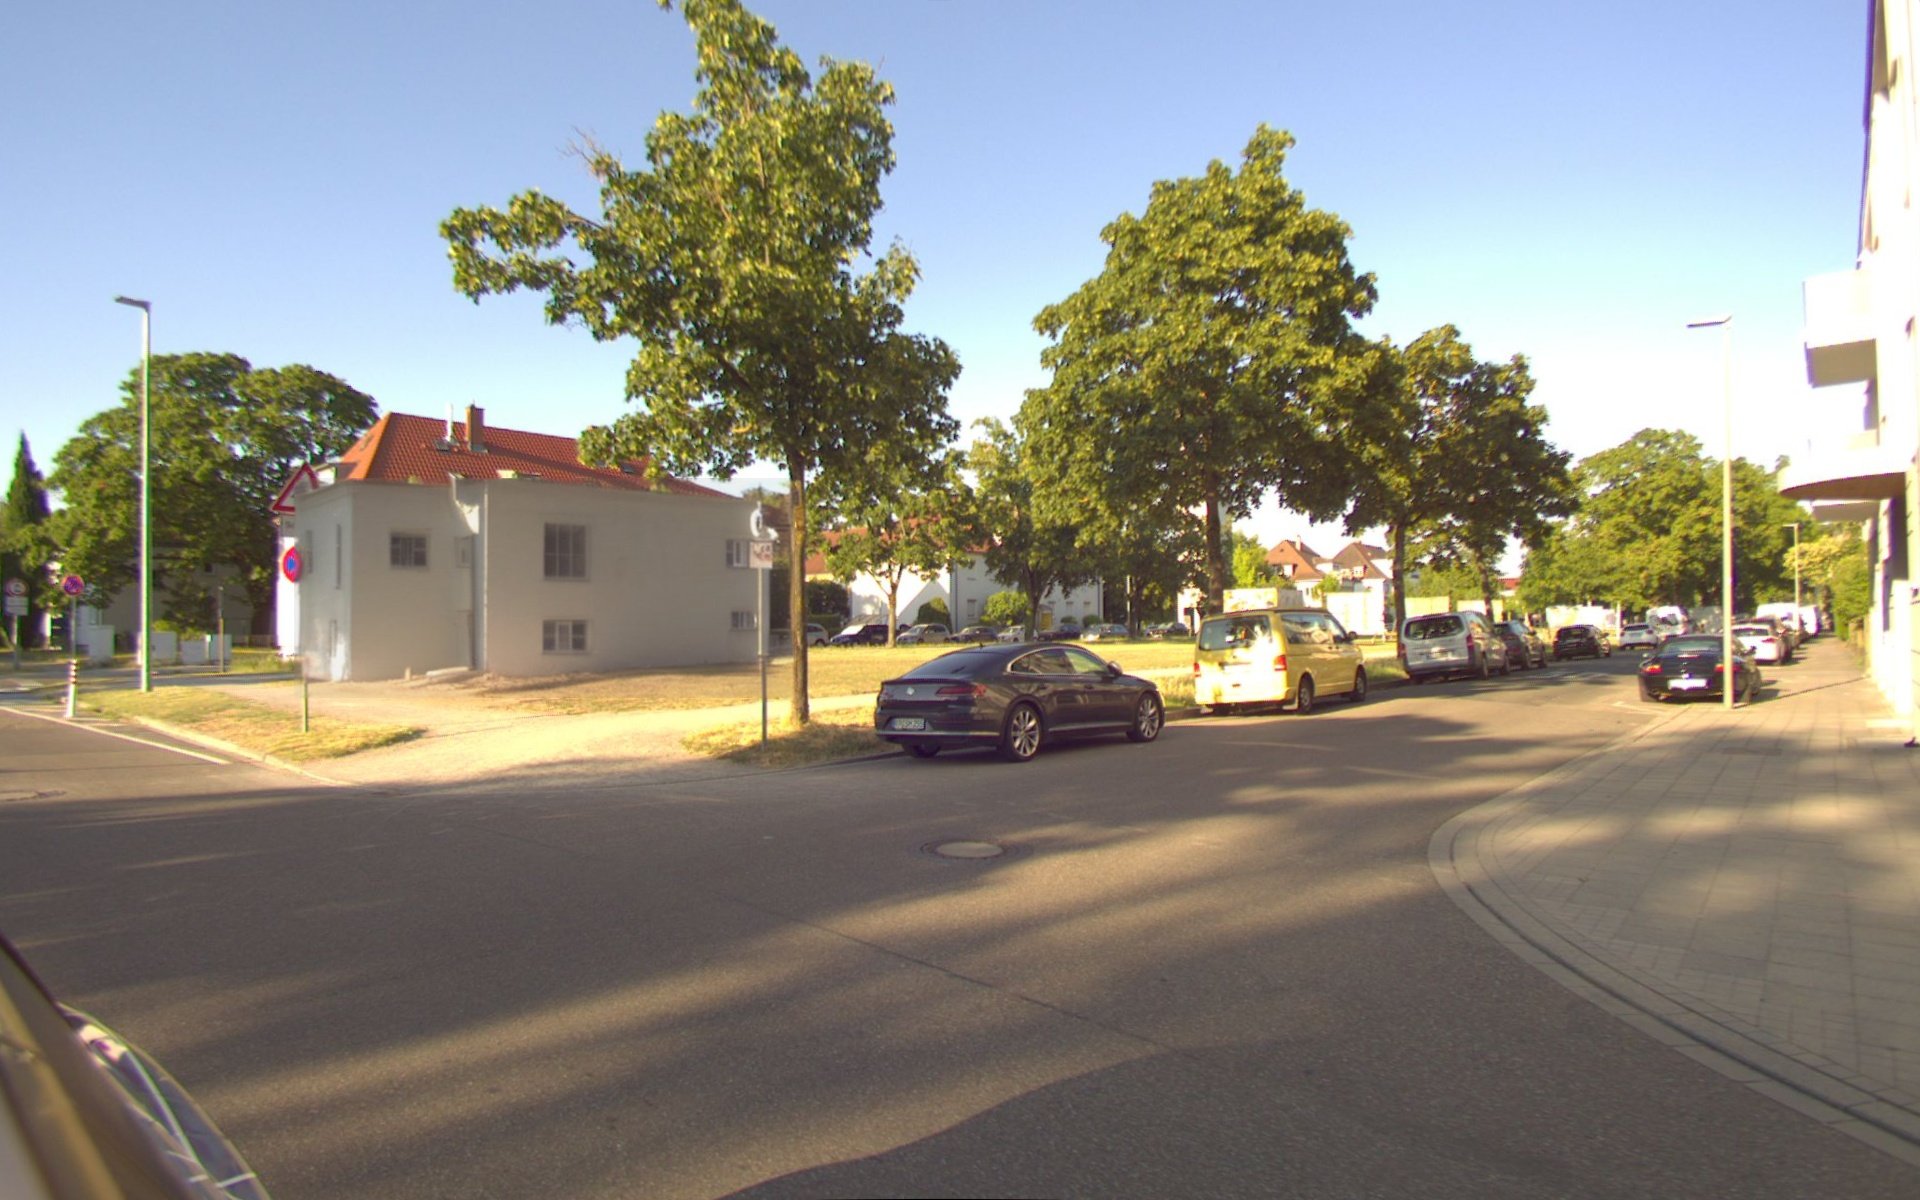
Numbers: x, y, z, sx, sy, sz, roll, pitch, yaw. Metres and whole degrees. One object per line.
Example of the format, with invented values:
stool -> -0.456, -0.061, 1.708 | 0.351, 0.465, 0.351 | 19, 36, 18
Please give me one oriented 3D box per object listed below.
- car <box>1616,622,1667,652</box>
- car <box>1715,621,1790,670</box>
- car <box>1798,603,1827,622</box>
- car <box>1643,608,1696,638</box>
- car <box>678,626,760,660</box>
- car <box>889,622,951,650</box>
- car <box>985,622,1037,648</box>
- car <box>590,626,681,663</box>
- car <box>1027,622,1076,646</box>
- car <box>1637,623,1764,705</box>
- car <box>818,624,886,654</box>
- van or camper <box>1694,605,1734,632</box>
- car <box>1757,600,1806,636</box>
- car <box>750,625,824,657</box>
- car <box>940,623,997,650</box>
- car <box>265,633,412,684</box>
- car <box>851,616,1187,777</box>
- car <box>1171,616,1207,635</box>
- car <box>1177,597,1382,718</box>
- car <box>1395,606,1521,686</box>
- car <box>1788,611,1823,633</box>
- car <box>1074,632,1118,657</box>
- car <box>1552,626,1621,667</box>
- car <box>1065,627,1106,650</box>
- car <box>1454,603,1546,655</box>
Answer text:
car -> 37.655, 2.013, 55.879 | 1.825, 1.592, 3.784 | -2, -2, 41
car -> 27.629, 1.541, 35.234 | 1.825, 1.592, 3.784 | -2, -2, 41
car -> 82.880, 1.193, 98.363 | 1.849, 1.755, 3.839 | -2, -2, 44
car -> 47.477, 1.526, 67.727 | 2.229, 1.960, 4.444 | -2, -2, 44
car -> -12.917, 2.293, 54.389 | 1.849, 1.708, 3.947 | -4, -3, 39
car -> -2.584, 2.315, 66.318 | 1.849, 1.708, 3.947 | -4, -3, 39
car -> 3.763, 2.551, 74.097 | 1.849, 1.708, 3.947 | -4, -3, 39
car -> -16.120, 2.202, 50.441 | 1.849, 1.708, 3.947 | -4, -3, 39
car -> 7.076, 2.632, 78.071 | 1.849, 1.708, 3.947 | -4, -3, 39
car -> 14.886, 1.241, 20.275 | 1.625, 1.433, 3.678 | -5, -3, 42
car -> -6.579, 2.395, 61.976 | 1.849, 1.708, 3.947 | -4, -3, 39
van or camper -> 66.020, 1.589, 88.543 | 2.229, 2.295, 4.444 | -2, -2, 44
car -> 51.971, 1.153, 63.994 | 2.000, 2.230, 4.071 | -2, -2, 44
car -> -9.848, 2.331, 57.820 | 1.849, 1.708, 3.947 | -4, -3, 39
car -> 0.603, 2.526, 70.206 | 1.849, 1.708, 3.947 | -4, -3, 39
car -> -22.890, 2.136, 37.396 | 1.869, 1.708, 4.244 | -4, -3, 39
car -> 0.960, 1.076, 13.143 | 1.788, 1.682, 4.772 | -2, -2, 42
car -> 22.437, 2.500, 99.139 | 1.849, 1.708, 3.947 | -4, -3, 39
car -> 6.289, 1.066, 19.568 | 2.031, 2.029, 4.631 | -7, -5, 40
car -> 13.844, 1.215, 28.003 | 2.078, 2.029, 4.514 | -2, -2, 40
car -> 67.255, 1.746, 80.471 | 1.868, 1.687, 4.071 | -2, -2, 44
car -> 10.246, 3.326, 76.366 | 1.806, 1.730, 3.300 | -1, -1, 41
car -> 26.151, 1.920, 42.203 | 1.825, 1.592, 3.784 | -2, -2, 41
car -> 10.144, 3.092, 81.825 | 1.806, 1.730, 3.300 | -1, -1, 41
car -> 17.606, 0.937, 32.934 | 1.825, 1.592, 3.784 | -2, -2, 41
